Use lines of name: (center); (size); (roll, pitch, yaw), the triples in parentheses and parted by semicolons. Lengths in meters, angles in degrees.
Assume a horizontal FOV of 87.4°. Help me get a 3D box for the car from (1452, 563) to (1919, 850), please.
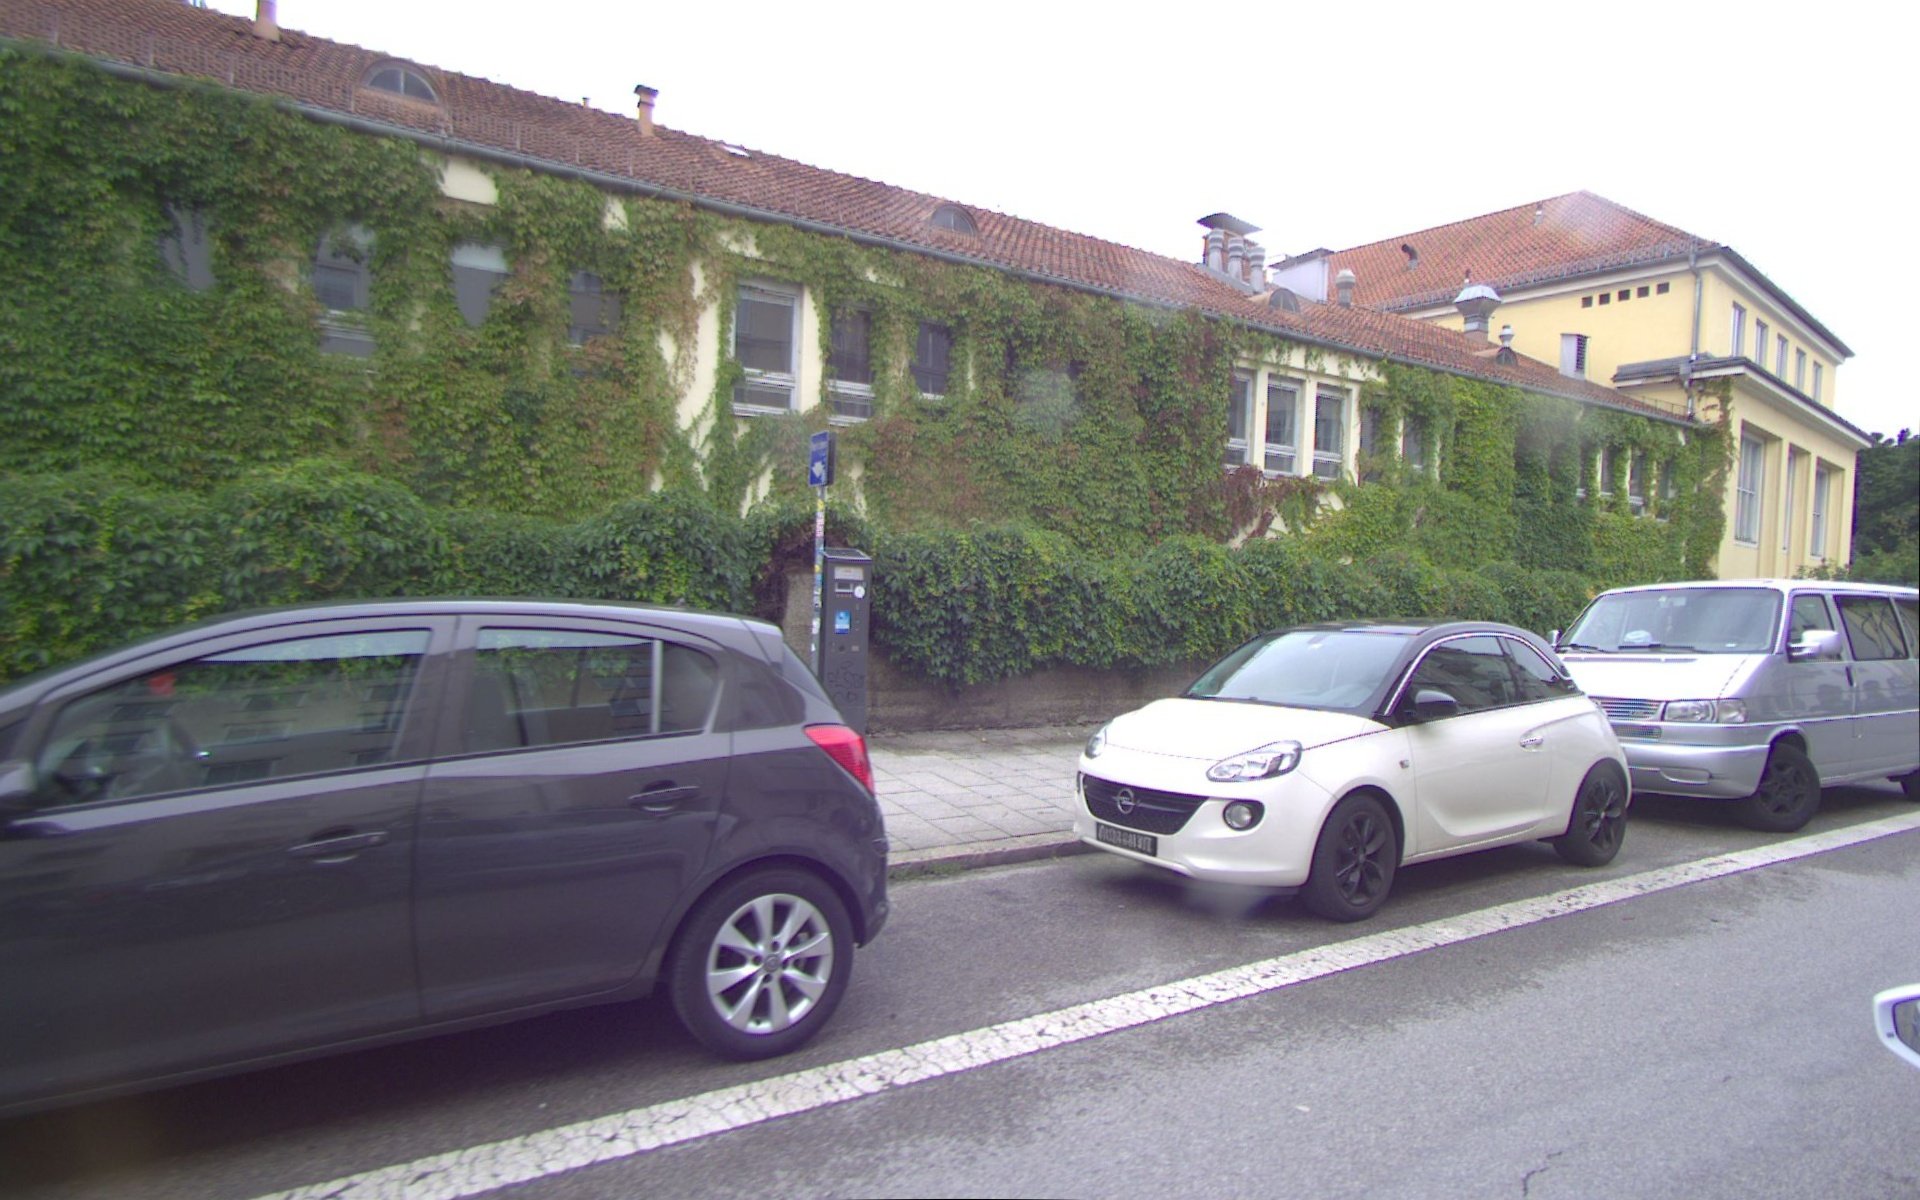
car: (6.643, 0.790, 8.719); (4.701, 1.900, 1.985); (2, -2, -30)

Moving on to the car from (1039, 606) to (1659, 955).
car: (2.420, 0.841, 6.015); (3.688, 1.512, 1.570); (1, -2, -32)

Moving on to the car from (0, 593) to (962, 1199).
car: (-2.035, 0.755, 3.257); (3.860, 1.475, 1.570); (1, -2, -32)

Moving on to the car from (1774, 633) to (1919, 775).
car: (11.458, 1.124, 11.636); (4.372, 1.441, 1.694); (2, -2, -30)
